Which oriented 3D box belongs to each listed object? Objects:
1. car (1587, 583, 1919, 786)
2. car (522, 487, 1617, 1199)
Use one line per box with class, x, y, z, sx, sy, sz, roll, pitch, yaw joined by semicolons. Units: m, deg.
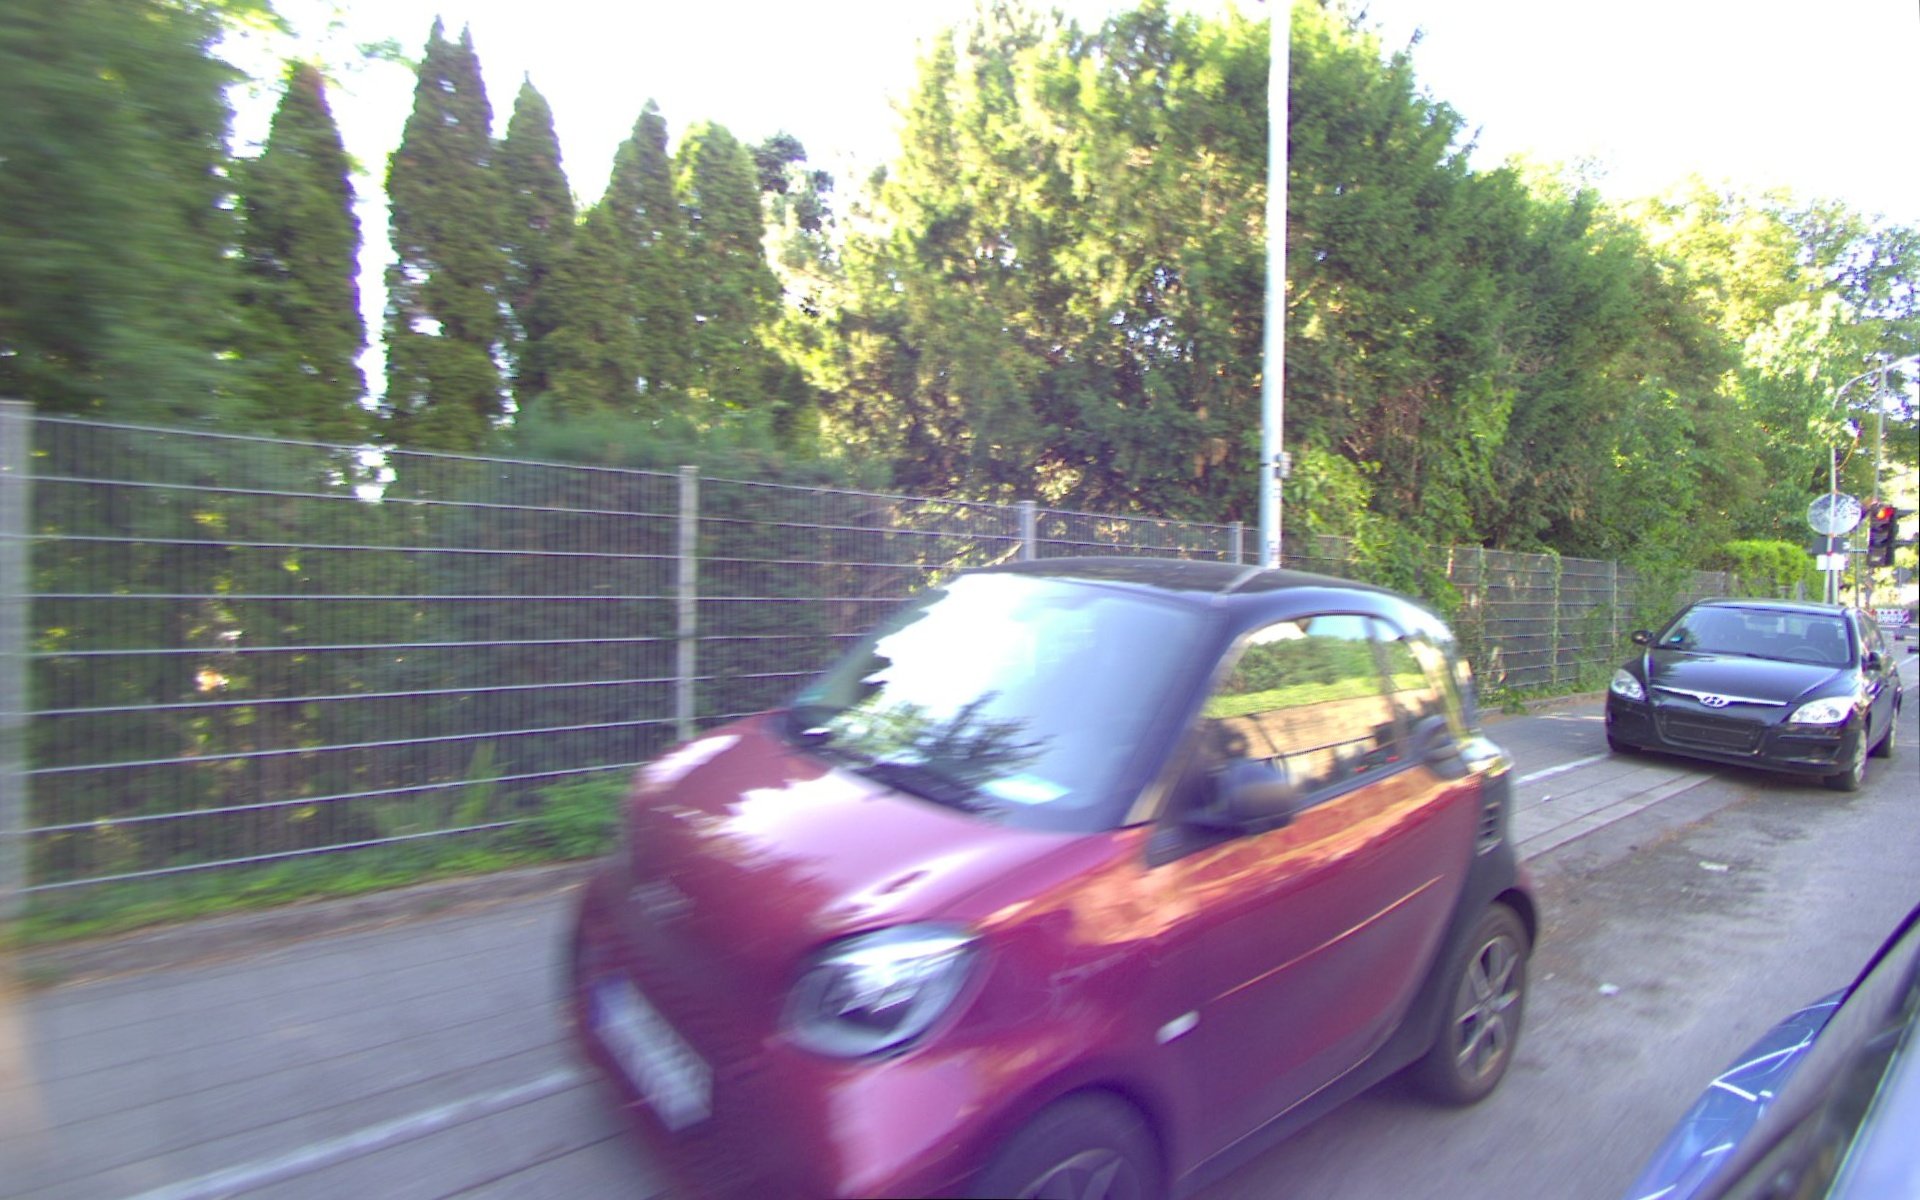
car;7.493;0.606;9.380;3.931;1.459;1.797;0;1;-42
car;0.426;0.557;3.006;2.821;1.582;1.658;-1;6;-39
